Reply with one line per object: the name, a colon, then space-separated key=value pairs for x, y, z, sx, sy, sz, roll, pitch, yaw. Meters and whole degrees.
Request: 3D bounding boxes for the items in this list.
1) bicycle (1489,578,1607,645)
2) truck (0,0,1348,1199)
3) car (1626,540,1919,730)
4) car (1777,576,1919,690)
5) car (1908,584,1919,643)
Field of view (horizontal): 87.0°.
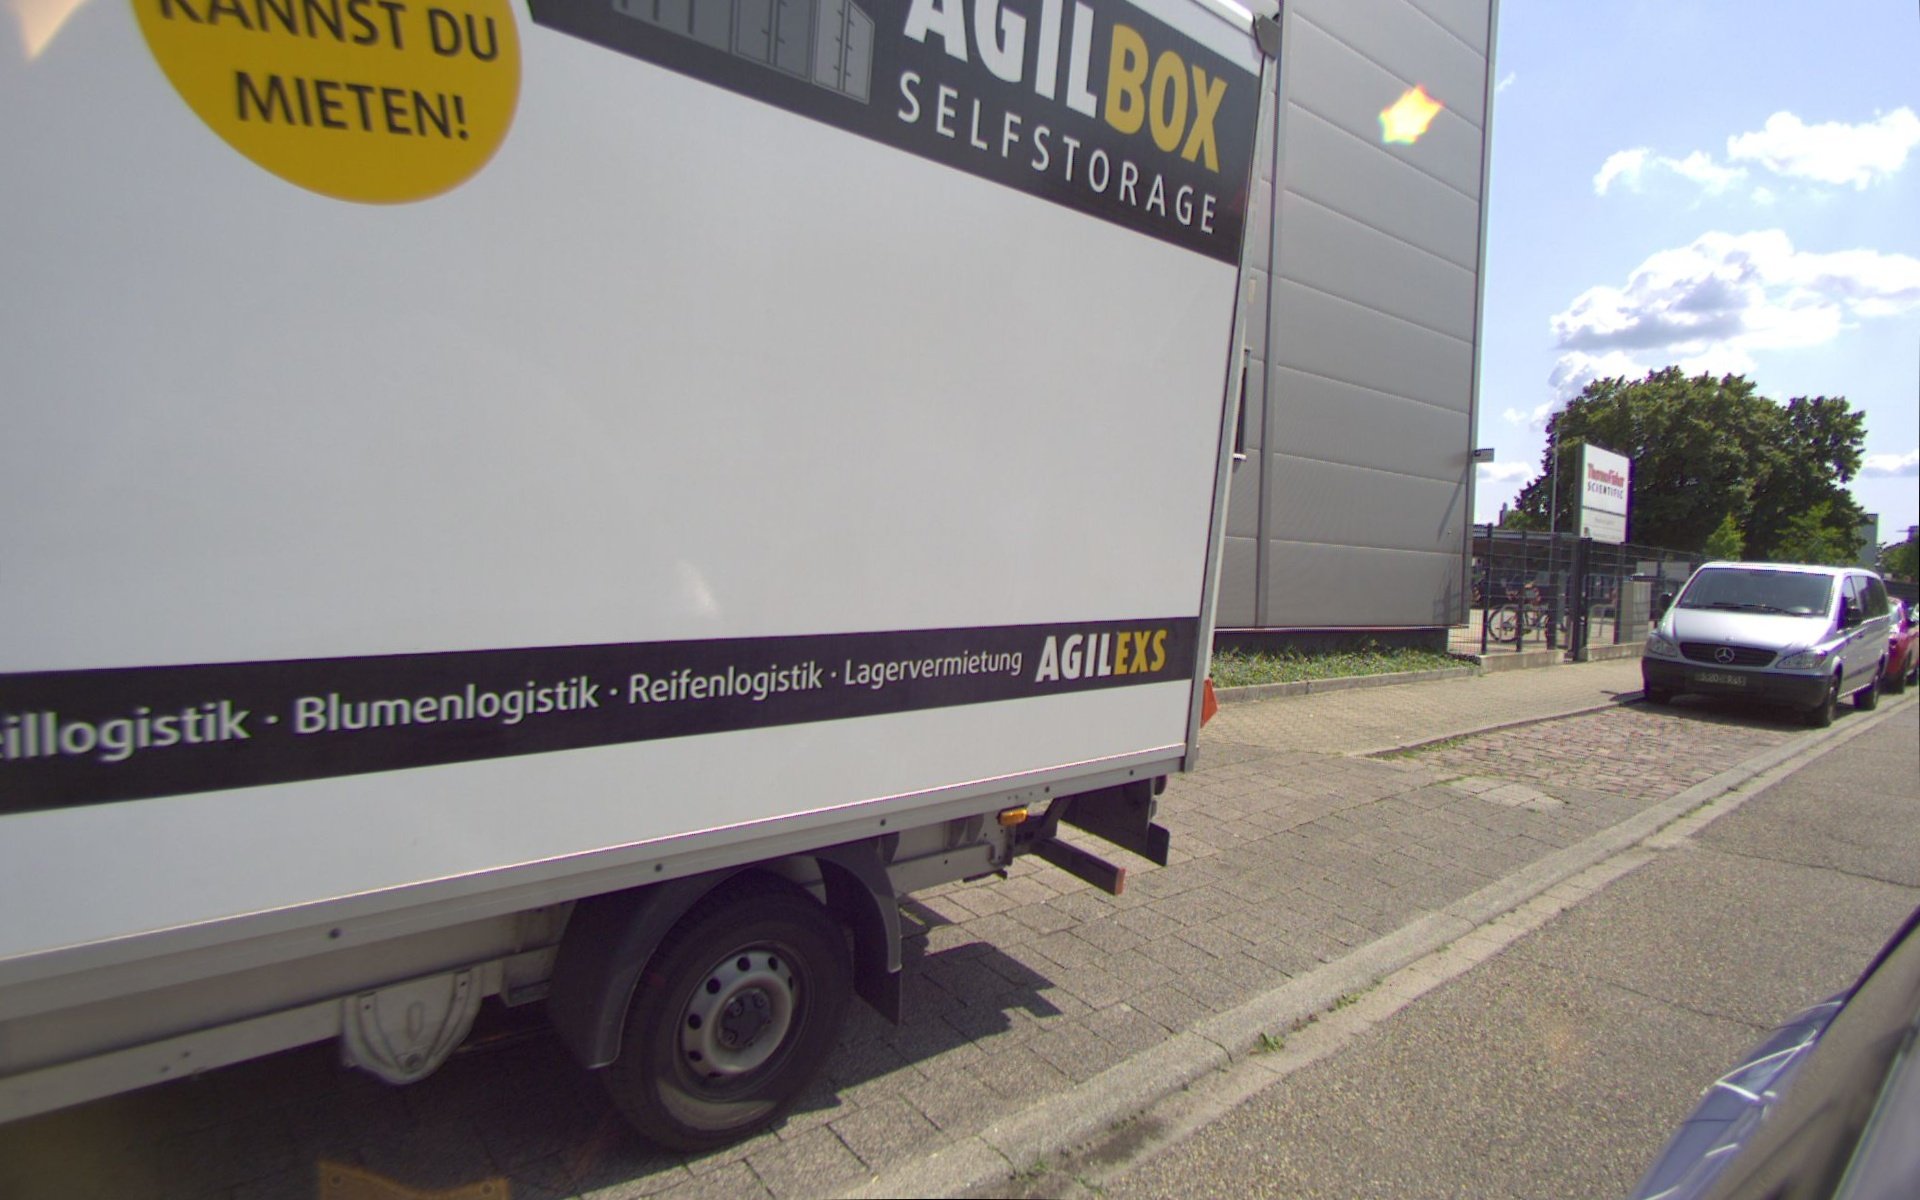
bicycle: x=11.680 y=0.201 z=20.169 sx=0.449 sy=1.156 sz=1.956 roll=1 pitch=4 yaw=-38
truck: x=-2.163 y=-0.470 z=2.256 sx=6.697 sy=3.330 sz=2.466 roll=0 pitch=7 yaw=-41
car: x=10.914 y=0.345 z=13.324 sx=5.055 sy=1.925 sz=2.060 roll=0 pitch=6 yaw=-40
car: x=15.812 y=0.489 z=17.656 sx=4.022 sy=1.643 sz=1.708 roll=0 pitch=5 yaw=-42
car: x=30.451 y=0.479 z=30.702 sx=4.598 sy=1.713 sz=1.940 roll=0 pitch=5 yaw=-41
